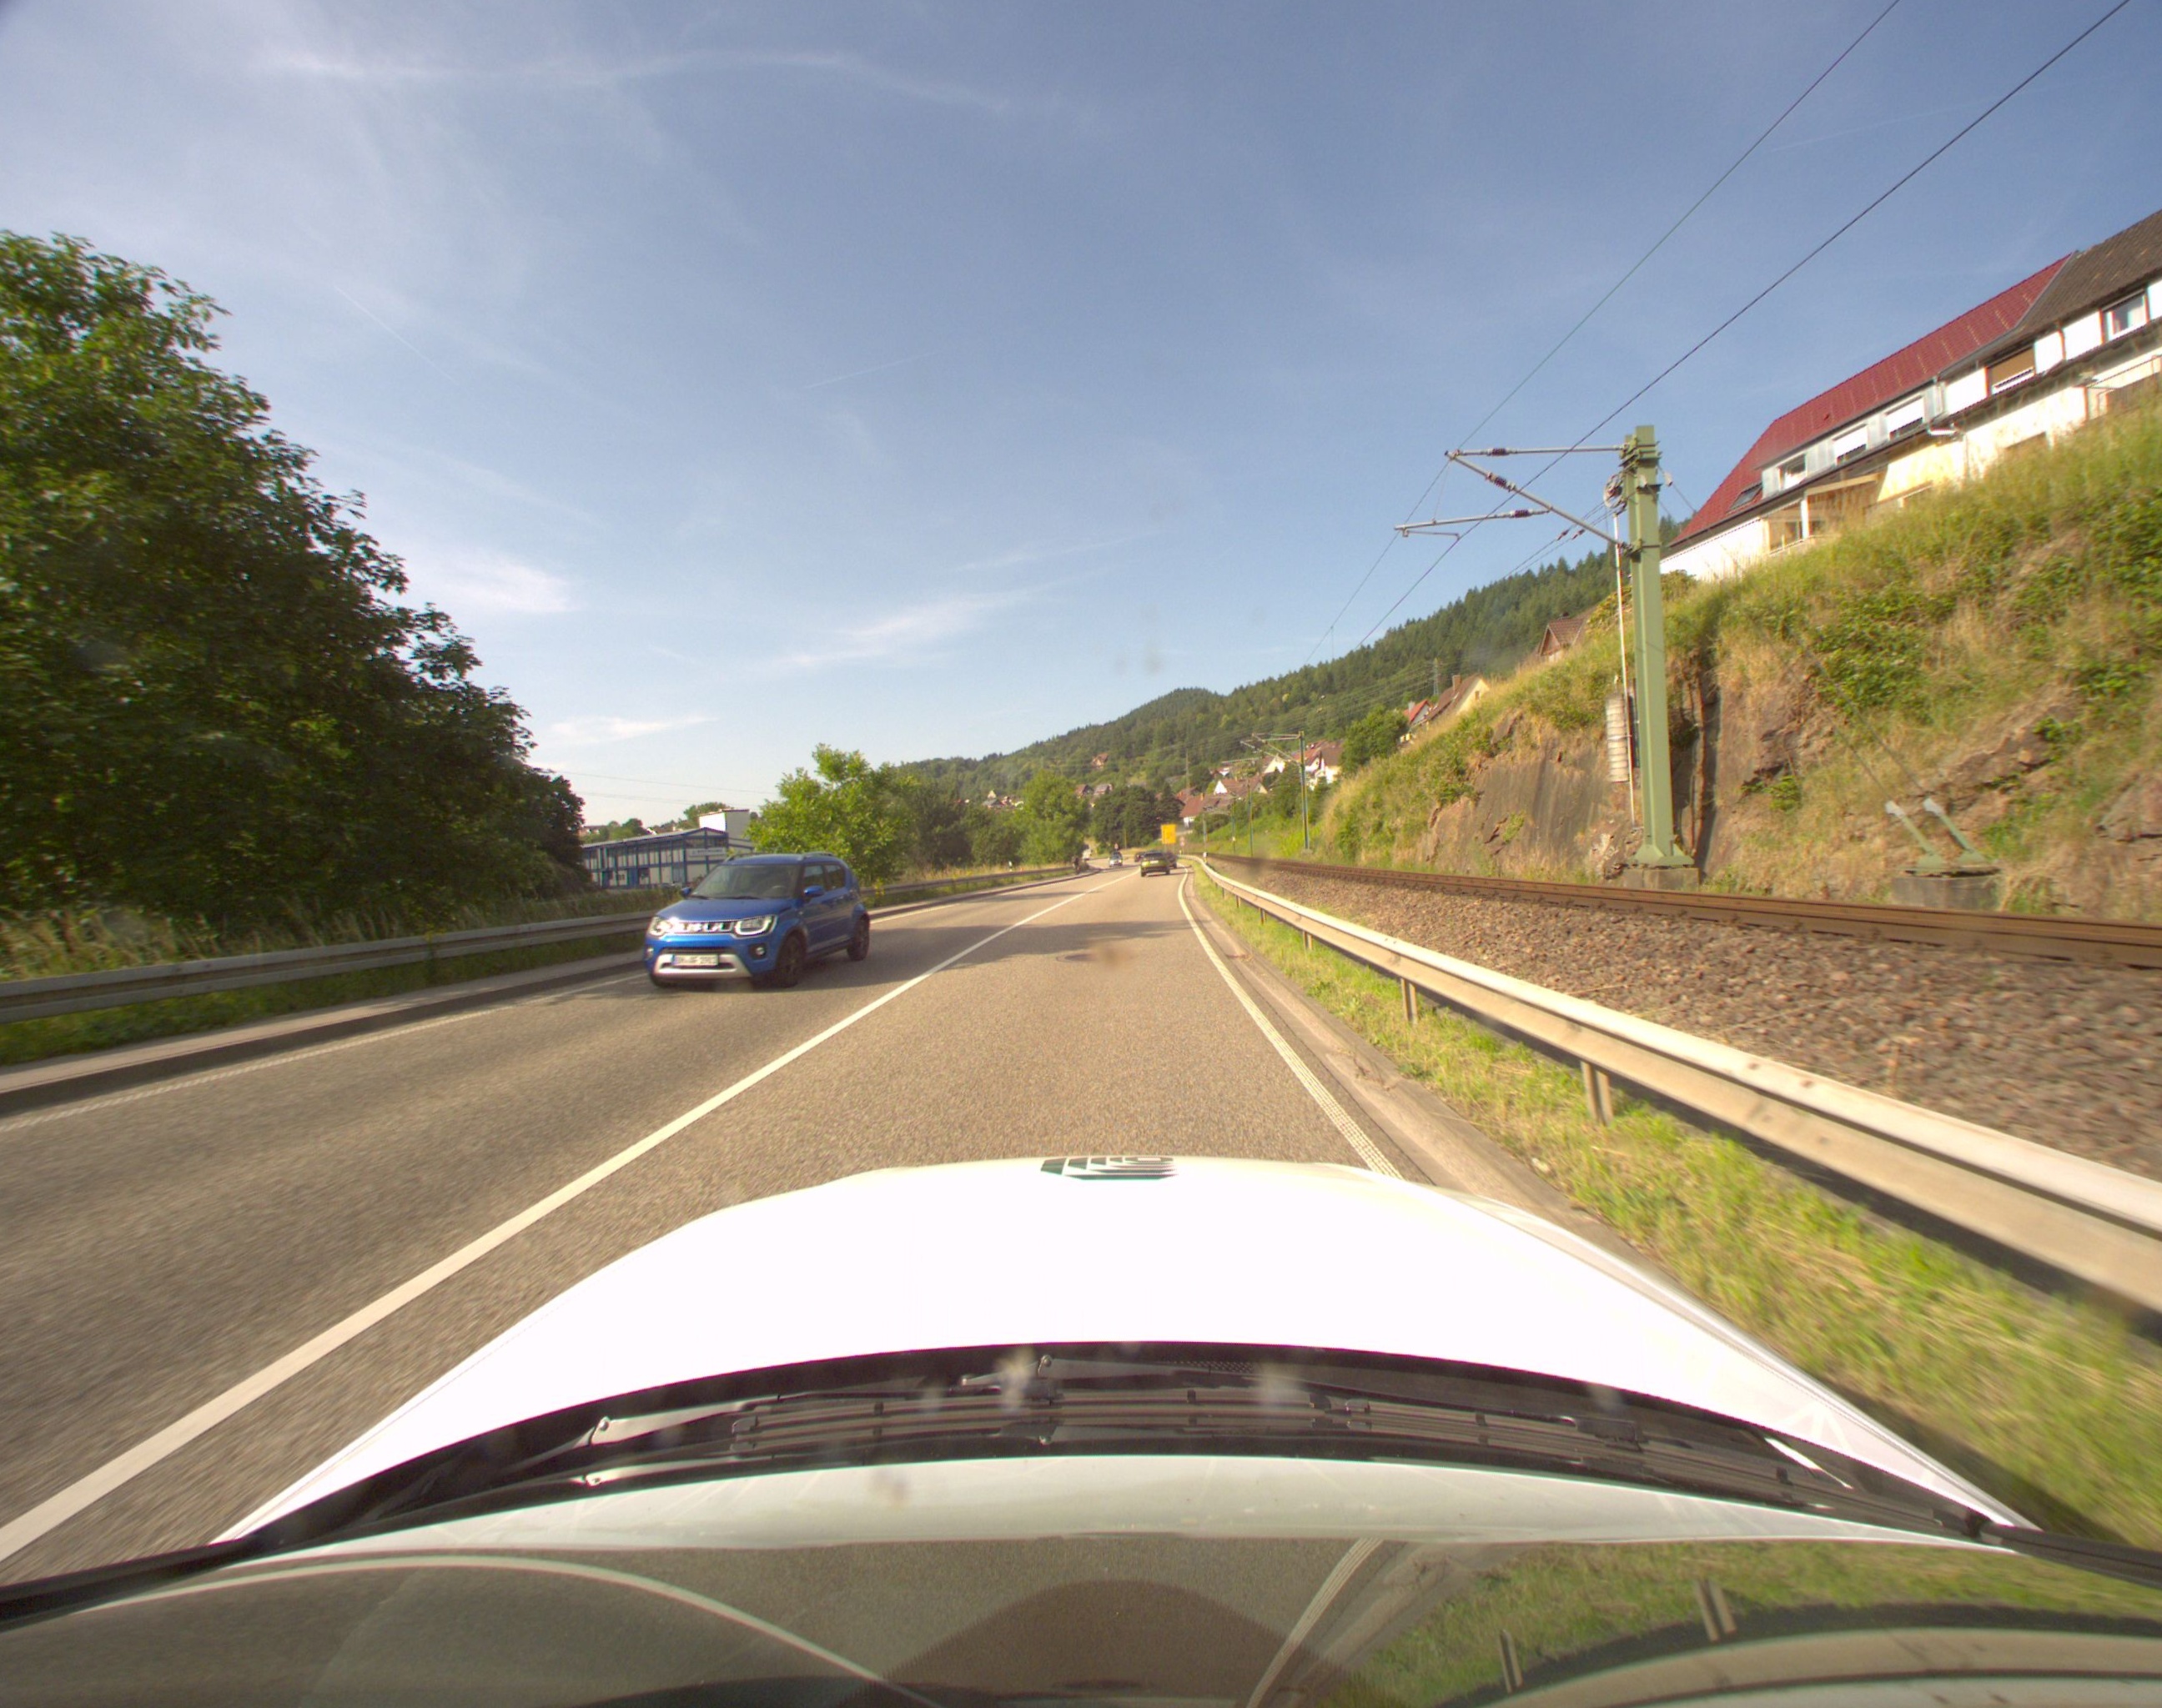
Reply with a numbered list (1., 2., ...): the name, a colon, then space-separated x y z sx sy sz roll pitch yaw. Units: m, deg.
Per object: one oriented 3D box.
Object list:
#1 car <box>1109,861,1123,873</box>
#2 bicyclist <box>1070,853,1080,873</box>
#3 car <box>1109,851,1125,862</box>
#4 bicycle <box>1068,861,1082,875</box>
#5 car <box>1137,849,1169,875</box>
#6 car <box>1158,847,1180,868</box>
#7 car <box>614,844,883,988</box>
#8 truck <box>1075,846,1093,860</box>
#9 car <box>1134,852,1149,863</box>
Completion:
1. car: 4.557 1.633 105.314 1.569 1.479 4.007 0 0 7
2. bicyclist: -0.474 0.740 66.392 0.553 1.586 1.040 -1 1 15
3. car: 6.580 0.480 148.724 2.062 1.811 3.989 -4 0 -8
4. bicycle: -0.468 1.109 66.307 0.553 1.045 2.238 -1 1 14
5. car: 4.460 0.478 50.714 1.708 1.455 4.002 -3 0 2
6. car: 6.977 0.276 64.730 1.659 1.559 4.006 -2 0 6
7. car: -4.121 0.684 10.885 1.744 1.567 4.004 -1 0 3
8. truck: 0.649 -0.152 181.331 2.713 3.084 6.086 -1 0 -11
9. car: 8.575 0.515 115.988 1.844 1.527 3.660 -2 0 -1
